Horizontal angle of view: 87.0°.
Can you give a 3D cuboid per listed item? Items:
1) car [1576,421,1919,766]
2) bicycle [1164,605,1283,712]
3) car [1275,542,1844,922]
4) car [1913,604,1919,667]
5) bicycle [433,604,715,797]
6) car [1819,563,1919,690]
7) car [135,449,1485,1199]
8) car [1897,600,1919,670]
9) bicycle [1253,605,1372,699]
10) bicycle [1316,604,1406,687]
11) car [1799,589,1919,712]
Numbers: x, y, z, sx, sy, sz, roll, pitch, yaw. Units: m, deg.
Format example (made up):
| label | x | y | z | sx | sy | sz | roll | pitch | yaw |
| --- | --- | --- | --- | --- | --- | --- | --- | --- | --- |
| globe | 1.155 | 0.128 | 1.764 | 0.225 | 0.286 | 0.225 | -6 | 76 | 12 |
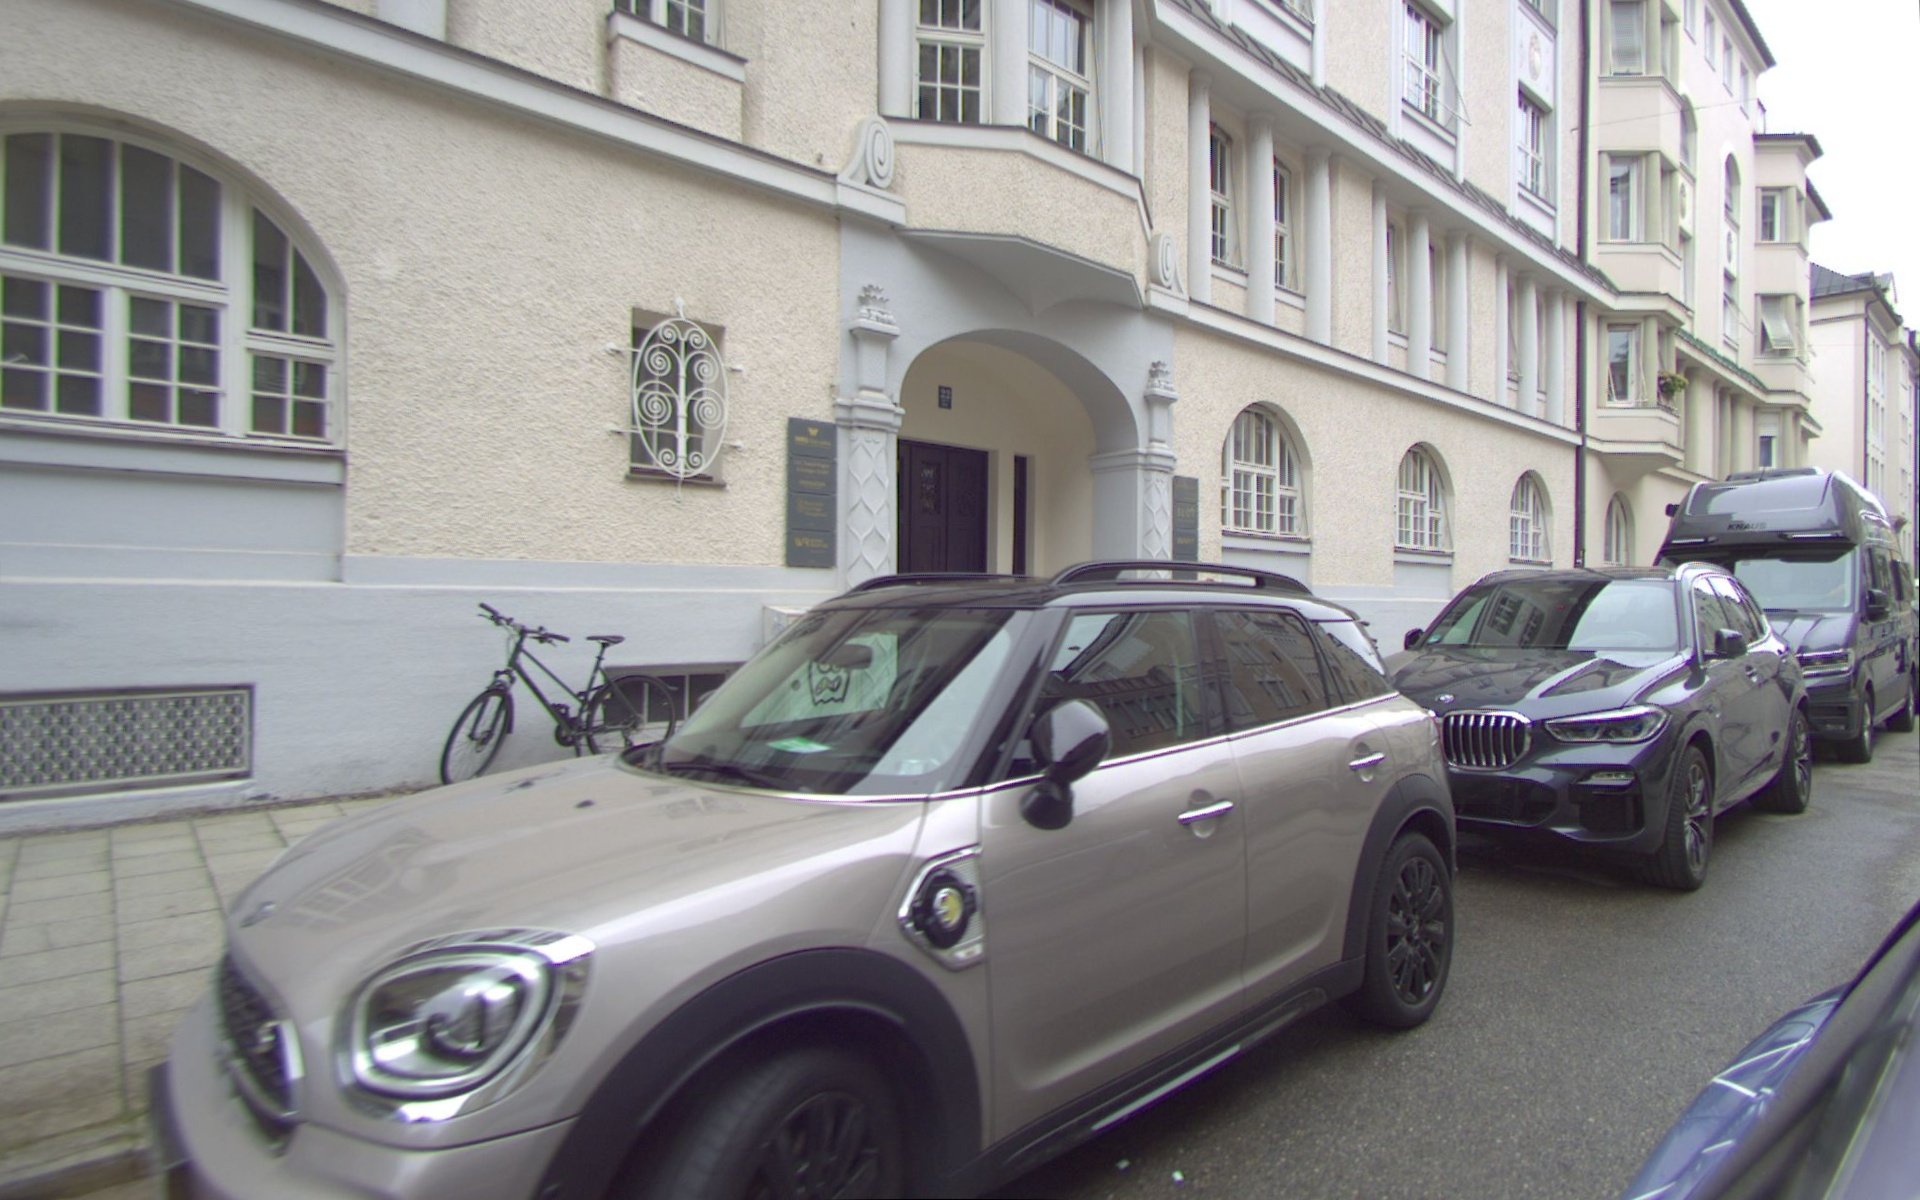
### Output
| label | x | y | z | sx | sy | sz | roll | pitch | yaw |
| --- | --- | --- | --- | --- | --- | --- | --- | --- | --- |
| car | 9.413 | -0.094 | 11.650 | 6.027 | 2.997 | 2.257 | -1 | 0 | -42 |
| bicycle | 3.170 | 0.658 | 12.064 | 1.758 | 1.164 | 0.482 | 0 | 2 | -44 |
| car | 4.272 | 0.614 | 6.851 | 4.593 | 1.710 | 1.996 | 0 | -1 | -42 |
| car | 24.657 | 0.838 | 24.902 | 3.612 | 1.491 | 1.494 | 0 | -1 | -43 |
| bicycle | -2.586 | 0.612 | 6.939 | 1.758 | 1.165 | 0.482 | 0 | 0 | -44 |
| car | 16.807 | 0.428 | 17.961 | 4.000 | 2.065 | 1.798 | 0 | 0 | -41 |
| car | 0.010 | 0.624 | 3.133 | 3.901 | 1.612 | 1.636 | 0 | 0 | -43 |
| car | 21.736 | 0.735 | 22.160 | 3.444 | 1.491 | 1.494 | 0 | -1 | -43 |
| bicycle | 4.613 | 0.647 | 13.210 | 1.753 | 1.165 | 0.483 | 0 | 0 | -32 |
| bicycle | 5.690 | 0.614 | 14.310 | 1.757 | 1.082 | 0.389 | 0 | 1 | -41 |
| car | 13.571 | 0.669 | 14.852 | 2.766 | 1.646 | 1.544 | 0 | 0 | -42 |
